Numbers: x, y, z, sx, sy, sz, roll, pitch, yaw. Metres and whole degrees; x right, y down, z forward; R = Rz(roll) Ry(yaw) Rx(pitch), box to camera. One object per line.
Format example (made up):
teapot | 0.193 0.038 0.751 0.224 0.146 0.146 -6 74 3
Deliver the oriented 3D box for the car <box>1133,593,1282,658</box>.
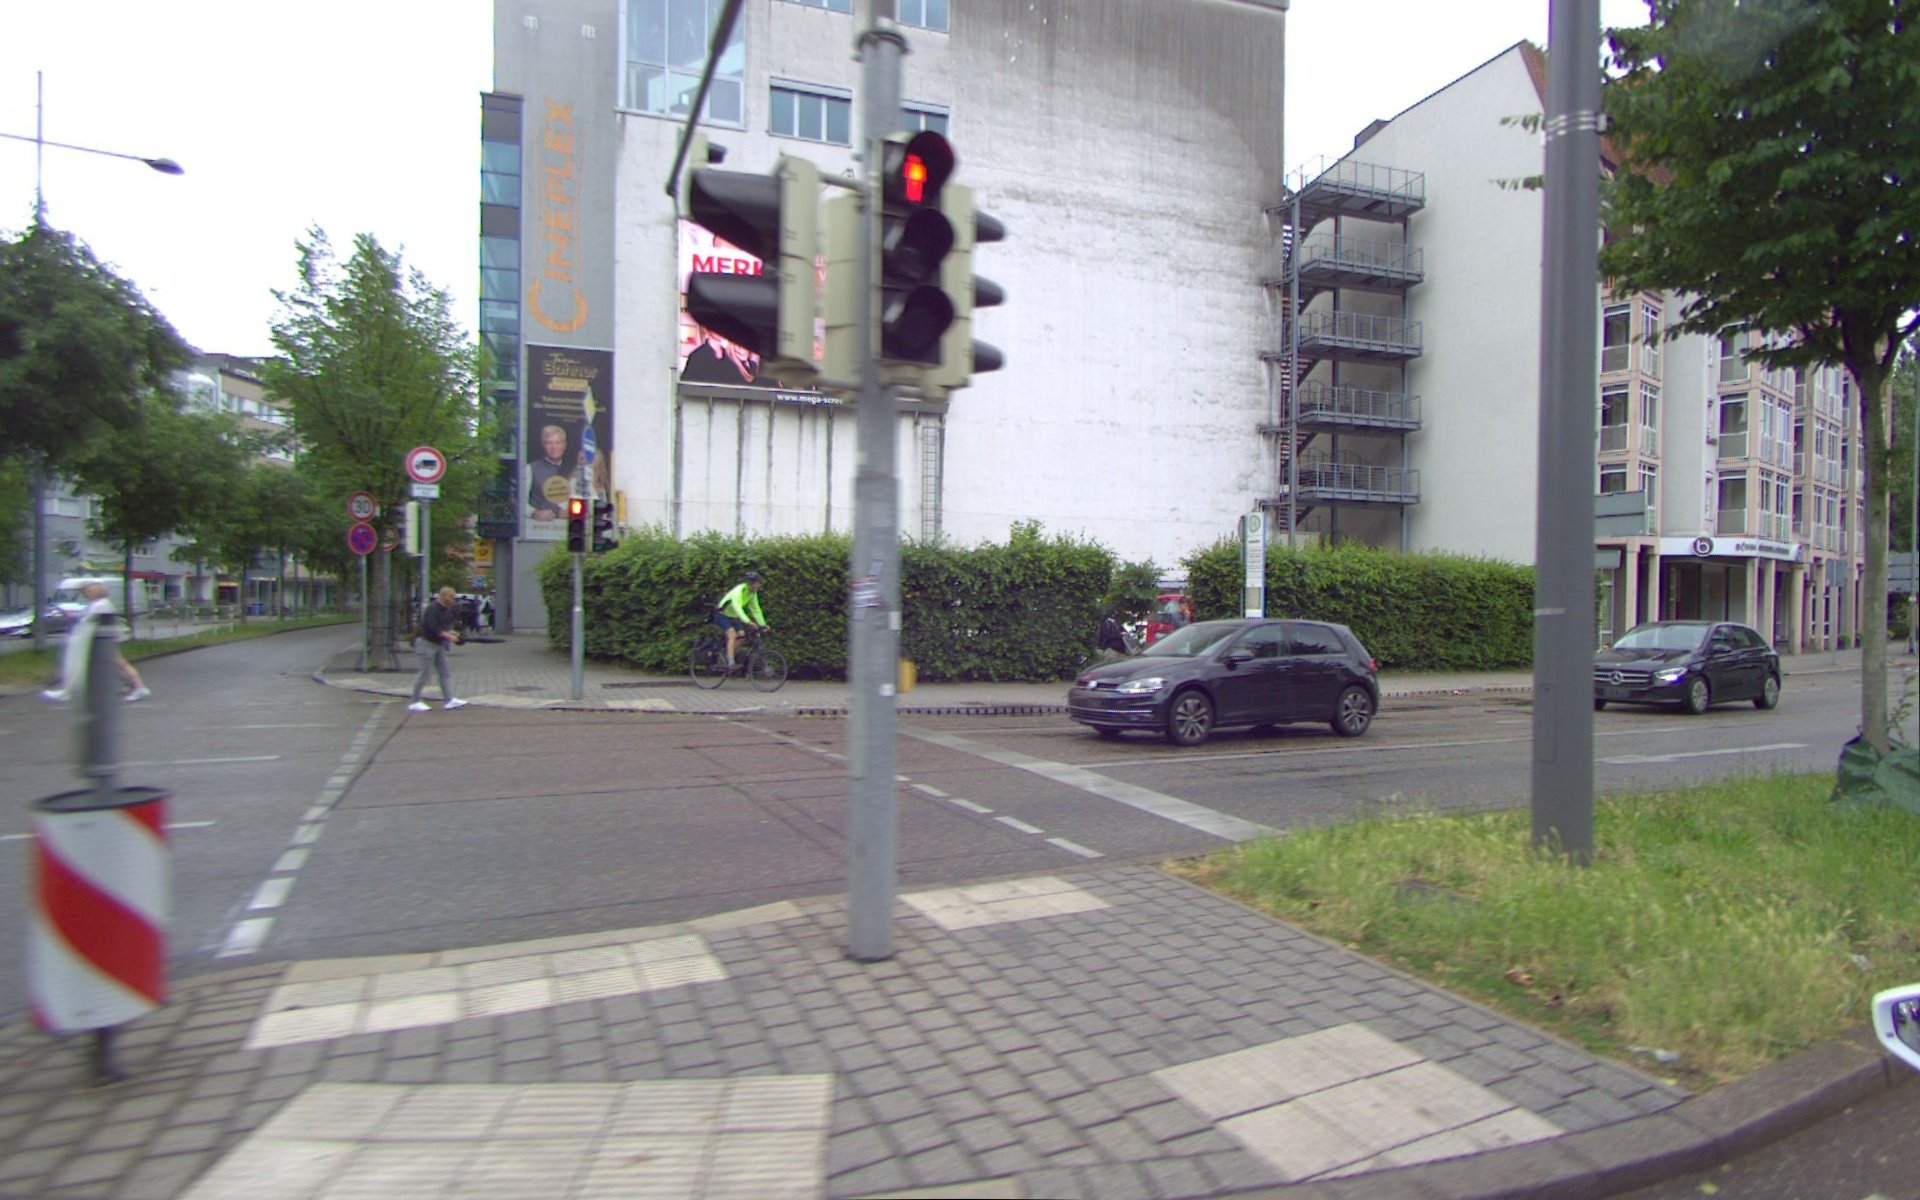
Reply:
car | 6.254 0.639 25.304 3.559 1.530 1.587 1 -1 -31

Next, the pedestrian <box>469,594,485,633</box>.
pedestrian | -19.996 0.552 41.609 0.520 1.621 0.556 1 0 -19

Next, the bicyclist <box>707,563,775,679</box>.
bicyclist | -3.714 0.356 17.099 0.935 1.915 0.794 1 0 2

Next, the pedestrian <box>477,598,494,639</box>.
pedestrian | -18.595 0.724 39.394 0.520 1.621 0.556 1 0 -19

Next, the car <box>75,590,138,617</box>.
car | -64.977 0.208 76.564 1.882 1.773 3.803 4 2 -9

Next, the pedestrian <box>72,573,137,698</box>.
pedestrian | -12.586 0.515 14.784 0.585 1.788 0.525 1 0 -27

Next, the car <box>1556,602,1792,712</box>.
car | 12.763 0.974 17.918 4.207 1.759 1.819 1 -2 -29

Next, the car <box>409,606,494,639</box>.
car | -28.298 1.235 56.019 1.908 1.684 3.873 4 1 21

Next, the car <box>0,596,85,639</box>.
car | -36.361 0.672 39.150 1.926 1.576 3.985 1 -1 -17

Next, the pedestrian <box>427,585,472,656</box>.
pedestrian | -13.349 0.538 26.262 0.778 1.804 0.653 0 -2 9

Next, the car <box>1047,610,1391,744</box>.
car | 3.259 0.911 12.534 4.045 1.439 1.751 2 -2 -27

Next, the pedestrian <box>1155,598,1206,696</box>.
pedestrian | 4.164 0.875 18.947 0.585 1.787 0.639 4 -1 -28

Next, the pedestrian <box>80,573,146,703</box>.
pedestrian | -11.985 0.531 14.226 0.585 1.788 0.525 2 3 -27

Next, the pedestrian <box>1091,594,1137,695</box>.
pedestrian | 2.777 0.794 18.106 0.623 1.788 0.524 1 0 -29

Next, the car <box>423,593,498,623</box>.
car | -31.757 0.536 63.913 1.909 1.684 3.870 4 1 25

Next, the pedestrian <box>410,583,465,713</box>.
pedestrian | -7.423 0.671 14.265 0.585 1.787 0.644 4 -1 -29

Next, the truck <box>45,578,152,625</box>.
truck | -43.221 0.081 50.581 1.971 2.183 6.671 0 0 -21

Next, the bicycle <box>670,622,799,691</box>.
bicycle | -3.823 0.950 17.098 2.017 1.125 0.652 1 0 3

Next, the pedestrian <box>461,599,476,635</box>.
pedestrian | -22.155 0.772 45.249 0.520 1.621 0.556 1 0 -19

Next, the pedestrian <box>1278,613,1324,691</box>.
pedestrian | 7.078 1.063 20.837 0.559 1.580 0.710 0 0 -34
